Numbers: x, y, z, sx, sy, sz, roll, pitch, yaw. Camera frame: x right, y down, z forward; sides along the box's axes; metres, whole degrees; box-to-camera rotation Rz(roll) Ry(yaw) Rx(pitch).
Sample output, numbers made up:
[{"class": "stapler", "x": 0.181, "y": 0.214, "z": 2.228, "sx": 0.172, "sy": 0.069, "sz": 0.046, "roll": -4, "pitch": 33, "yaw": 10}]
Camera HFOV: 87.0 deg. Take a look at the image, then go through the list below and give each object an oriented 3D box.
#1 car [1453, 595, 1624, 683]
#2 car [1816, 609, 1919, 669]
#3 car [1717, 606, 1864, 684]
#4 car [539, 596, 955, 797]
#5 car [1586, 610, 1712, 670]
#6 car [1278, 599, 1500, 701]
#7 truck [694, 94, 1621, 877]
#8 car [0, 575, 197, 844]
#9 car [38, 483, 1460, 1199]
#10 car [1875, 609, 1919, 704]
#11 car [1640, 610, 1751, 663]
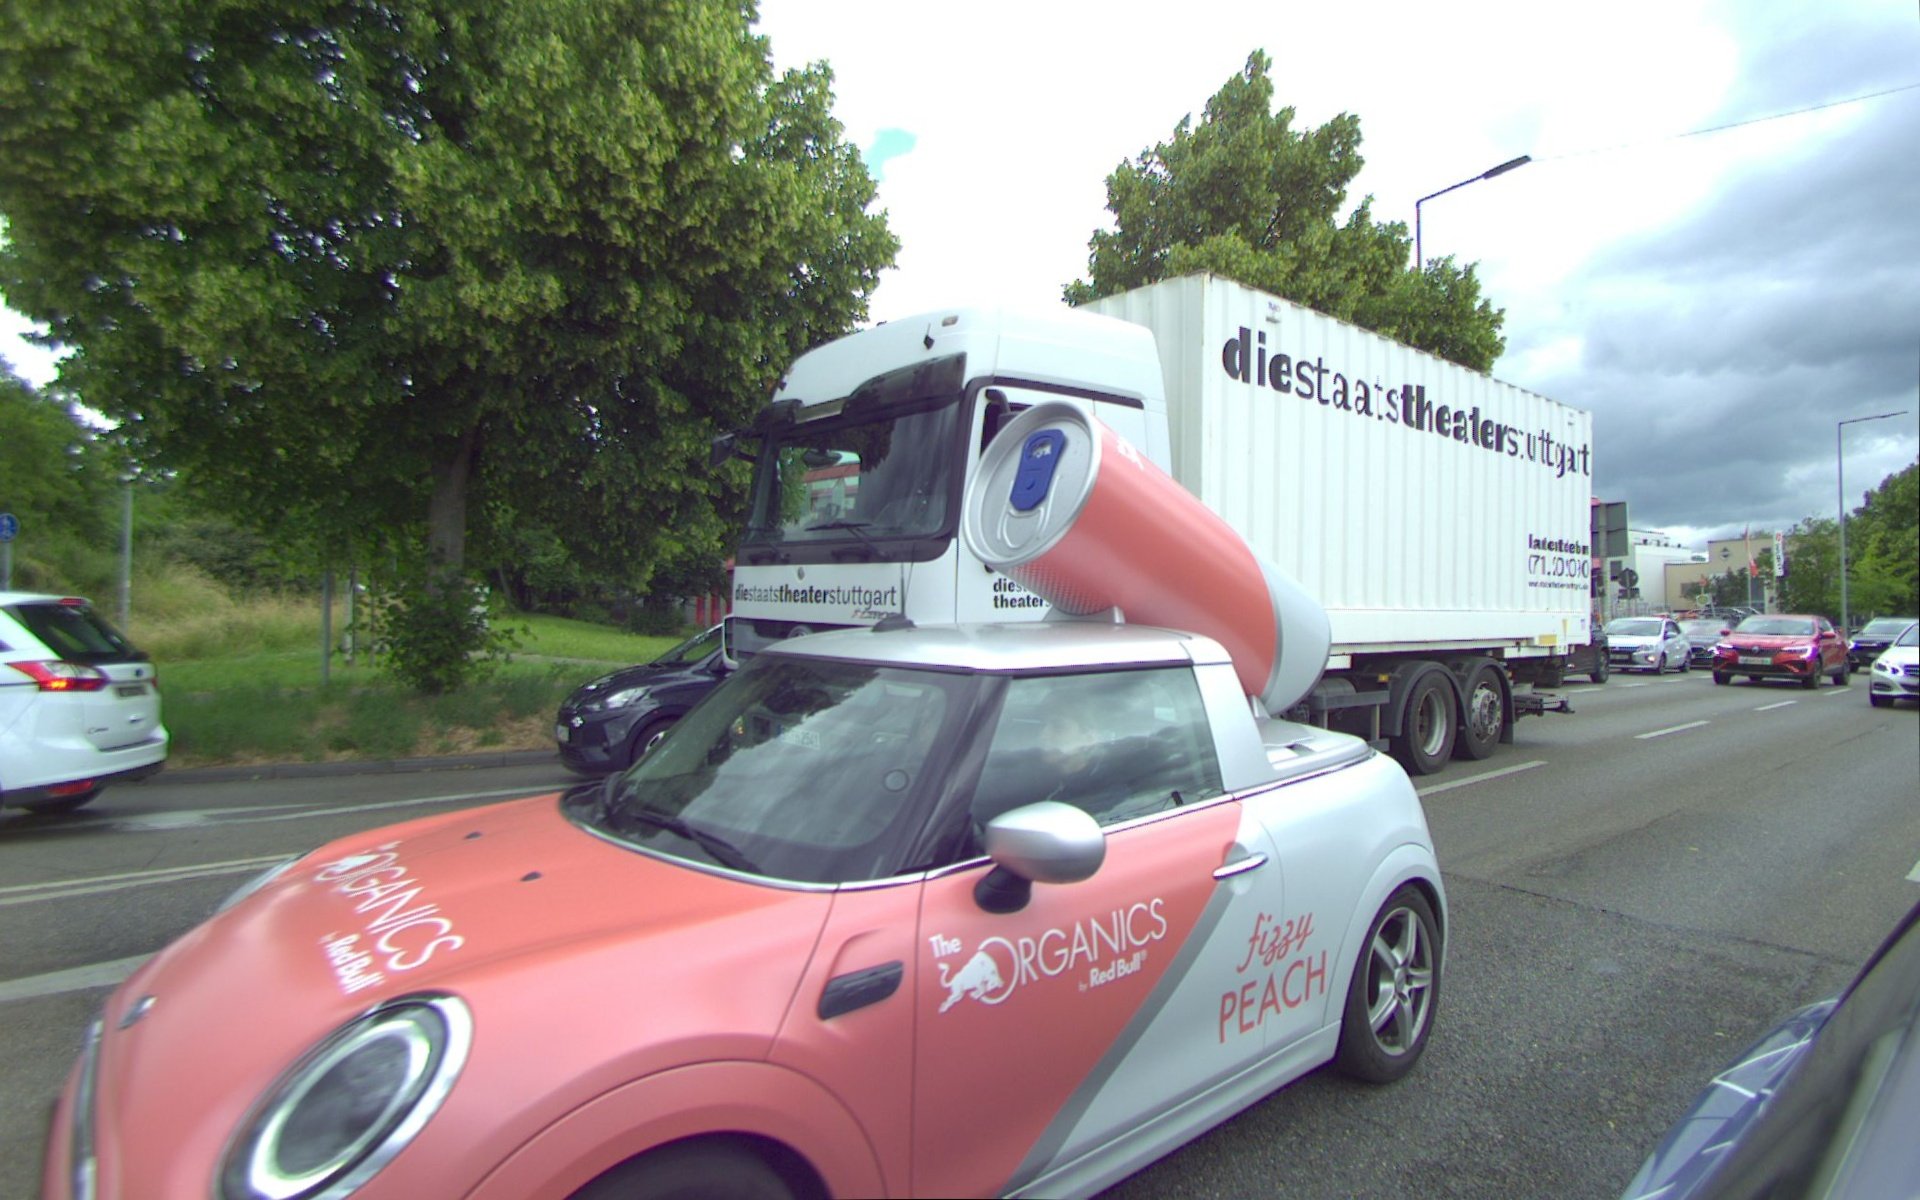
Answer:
[{"class": "car", "x": 12.388, "y": 0.810, "z": 21.579, "sx": 4.133, "sy": 1.679, "sz": 1.863, "roll": 1, "pitch": -3, "yaw": -41}, {"class": "car", "x": 26.806, "y": 1.083, "z": 29.698, "sx": 4.142, "sy": 1.549, "sz": 1.798, "roll": -1, "pitch": 0, "yaw": -38}, {"class": "car", "x": 18.429, "y": 0.935, "z": 22.391, "sx": 4.299, "sy": 1.549, "sz": 1.850, "roll": 1, "pitch": -1, "yaw": -41}, {"class": "car", "x": -1.945, "y": 0.745, "z": 9.540, "sx": 3.495, "sy": 1.525, "sz": 1.608, "roll": -1, "pitch": 0, "yaw": -34}, {"class": "car", "x": 18.430, "y": 1.009, "z": 27.012, "sx": 4.293, "sy": 1.458, "sz": 1.761, "roll": 0, "pitch": -1, "yaw": -41}, {"class": "car", "x": 7.403, "y": 0.804, "z": 17.320, "sx": 4.034, "sy": 1.536, "sz": 1.842, "roll": 0, "pitch": -4, "yaw": -41}, {"class": "truck", "x": 2.814, "y": -0.568, "z": 9.406, "sx": 10.000, "sy": 3.953, "sz": 2.808, "roll": 0, "pitch": 0, "yaw": -40}, {"class": "car", "x": -7.866, "y": 0.692, "z": 6.584, "sx": 4.278, "sy": 1.676, "sz": 1.767, "roll": 0, "pitch": -1, "yaw": -20}, {"class": "car", "x": -0.258, "y": 0.641, "z": 2.907, "sx": 3.432, "sy": 1.525, "sz": 1.825, "roll": 1, "pitch": 0, "yaw": -40}, {"class": "car", "x": 16.888, "y": 0.881, "z": 16.726, "sx": 4.236, "sy": 1.429, "sz": 1.805, "roll": -1, "pitch": 0, "yaw": -36}, {"class": "car", "x": 21.890, "y": 1.029, "z": 30.067, "sx": 4.293, "sy": 1.458, "sz": 1.761, "roll": 0, "pitch": -1, "yaw": -41}]
